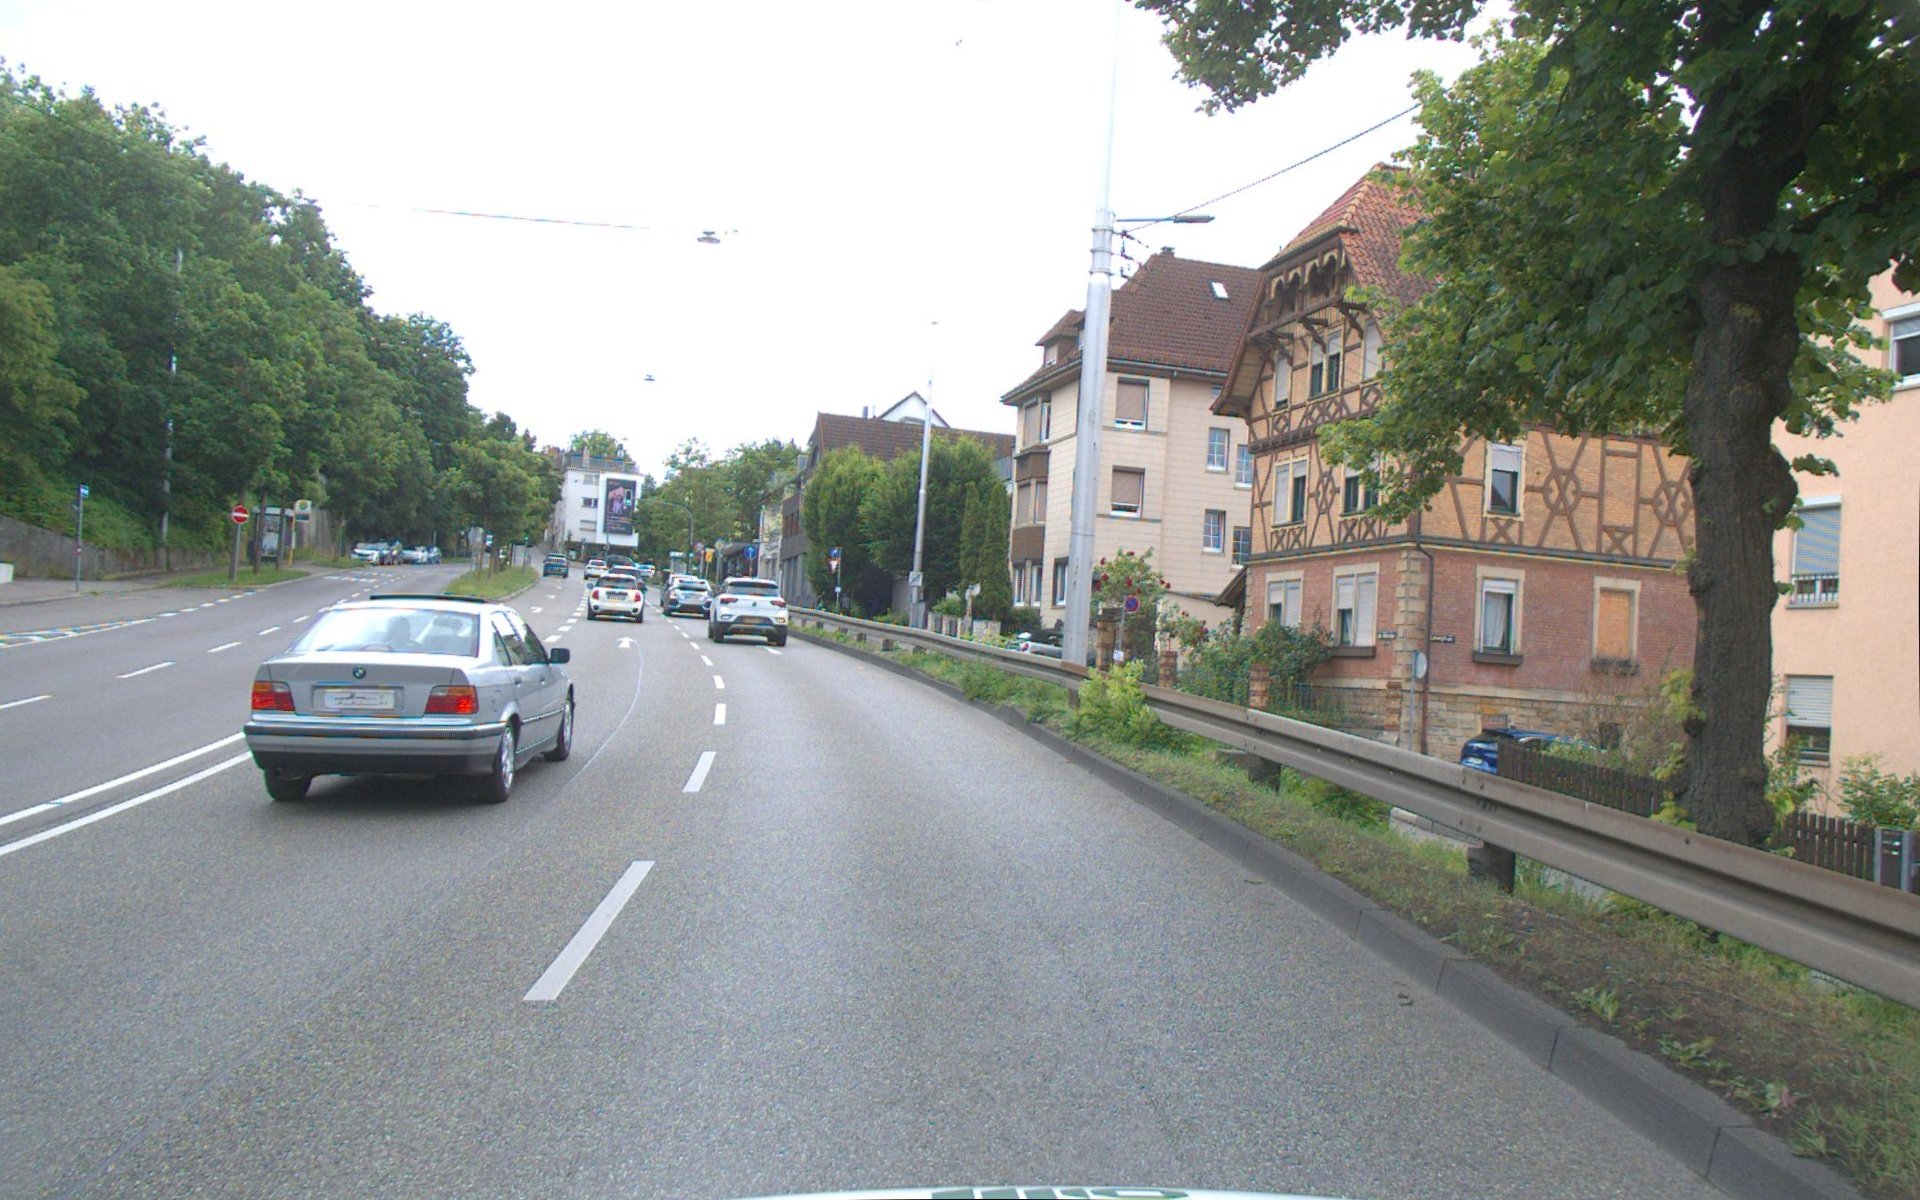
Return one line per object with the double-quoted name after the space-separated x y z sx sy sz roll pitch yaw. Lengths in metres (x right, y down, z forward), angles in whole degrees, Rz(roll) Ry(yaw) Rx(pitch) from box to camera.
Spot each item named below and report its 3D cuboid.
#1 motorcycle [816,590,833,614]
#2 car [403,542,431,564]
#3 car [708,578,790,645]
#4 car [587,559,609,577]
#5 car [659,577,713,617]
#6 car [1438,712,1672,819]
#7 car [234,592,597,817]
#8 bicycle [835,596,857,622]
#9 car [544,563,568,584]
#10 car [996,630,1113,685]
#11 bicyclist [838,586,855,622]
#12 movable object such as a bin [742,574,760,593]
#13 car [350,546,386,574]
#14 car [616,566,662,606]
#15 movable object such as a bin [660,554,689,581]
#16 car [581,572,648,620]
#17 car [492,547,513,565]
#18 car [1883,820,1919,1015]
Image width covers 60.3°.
-7.326 0.099 89.308 0.598 1.182 2.035 3 1 -12 "motorcycle"
-44.673 -3.882 136.193 1.829 1.621 4.263 6 1 -15 "car"
-5.242 0.259 40.775 1.765 1.545 3.448 1 0 -11 "car"
-29.435 -2.565 134.517 1.693 1.400 3.444 1 0 -14 "car"
-10.120 -0.124 60.947 1.694 1.400 3.444 1 0 -14 "car"
11.959 3.321 33.334 3.922 1.600 1.992 6 0 -15 "car"
-3.928 0.675 12.733 1.602 1.407 4.615 0 0 -5 "car"
-5.052 0.398 73.247 0.557 1.081 1.998 1 1 -15 "bicycle"
-31.846 -2.081 130.227 1.694 1.610 3.442 1 0 -15 "car"
3.225 1.961 56.600 3.564 1.459 1.689 6 0 -30 "car"
-5.035 0.182 73.225 0.557 1.551 0.955 1 1 -15 "bicyclist"
-16.614 -1.309 131.431 1.175 1.432 0.708 5 0 -14 "movable object such as a bin"
-40.801 -2.777 114.032 1.829 1.698 4.263 6 1 -15 "car"
-14.139 -0.629 72.791 1.694 1.668 3.442 1 0 -16 "car"
-22.989 -2.630 133.055 1.865 1.902 1.519 5 0 -22 "movable object such as a bin"
-10.785 -0.129 51.519 1.696 1.400 3.440 1 0 -18 "car"
-46.849 -4.518 169.307 1.829 1.698 4.264 6 1 -14 "car"
10.029 3.035 13.584 1.753 1.698 4.186 5 1 -16 "car"
